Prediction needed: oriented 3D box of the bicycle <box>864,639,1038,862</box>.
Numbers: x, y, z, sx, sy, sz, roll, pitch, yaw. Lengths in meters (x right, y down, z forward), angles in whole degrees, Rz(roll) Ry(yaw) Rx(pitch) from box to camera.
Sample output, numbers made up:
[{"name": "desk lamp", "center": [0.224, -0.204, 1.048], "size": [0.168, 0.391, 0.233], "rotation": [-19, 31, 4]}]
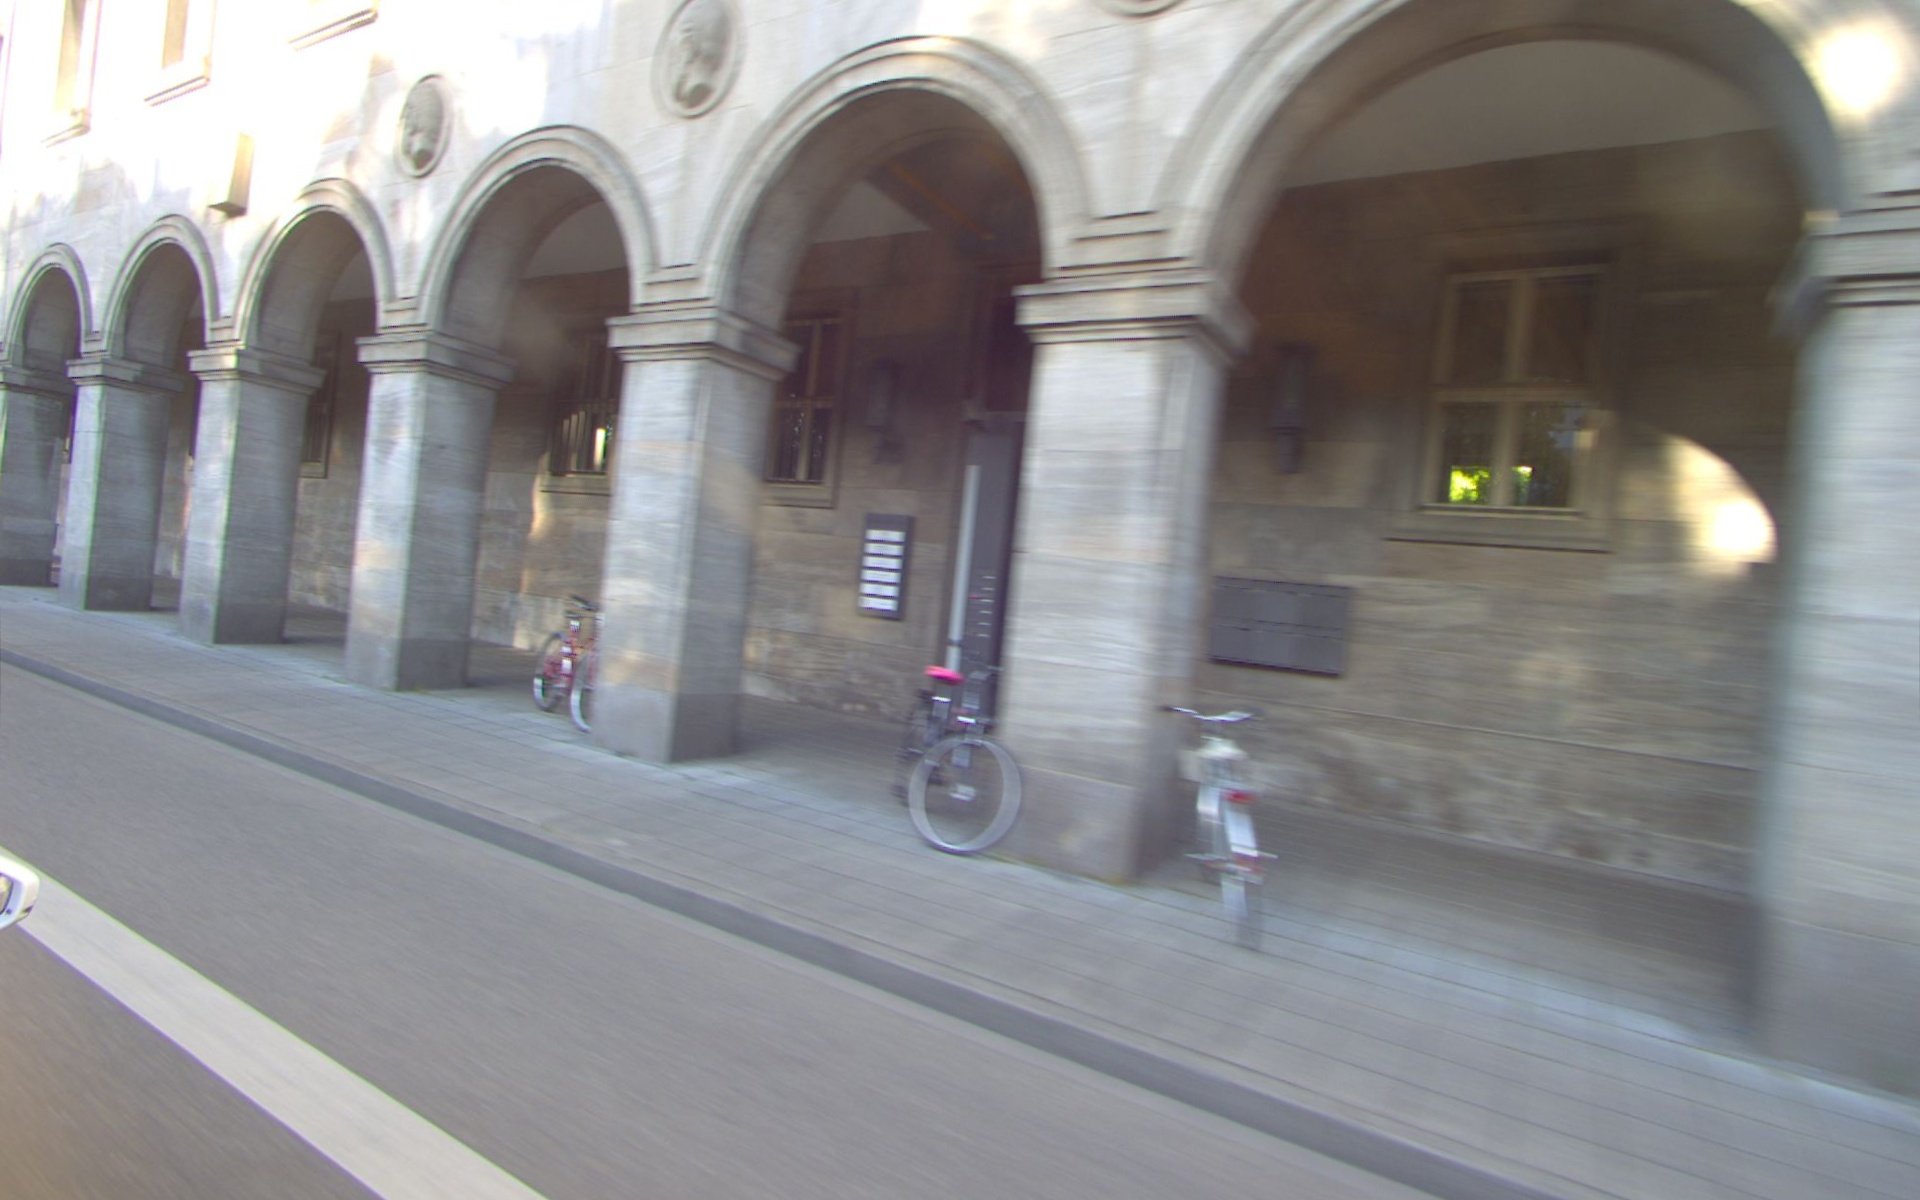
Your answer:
[{"name": "bicycle", "center": [-0.124, 0.871, 6.355], "size": [0.602, 1.064, 1.707], "rotation": [5, 1, -15]}]

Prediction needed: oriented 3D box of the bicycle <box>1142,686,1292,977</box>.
[{"name": "bicycle", "center": [1.345, 1.057, 5.138], "size": [0.518, 1.064, 1.712], "rotation": [6, 1, 17]}]

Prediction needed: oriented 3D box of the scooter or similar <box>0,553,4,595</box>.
[{"name": "scooter or similar", "center": [-8.776, 0.054, 8.554], "size": [1.098, 1.044, 0.556], "rotation": [7, 1, 28]}]

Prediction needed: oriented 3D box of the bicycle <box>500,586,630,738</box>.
[{"name": "bicycle", "center": [-3.401, 0.489, 8.575], "size": [0.468, 1.064, 1.694], "rotation": [4, 2, -39]}]
